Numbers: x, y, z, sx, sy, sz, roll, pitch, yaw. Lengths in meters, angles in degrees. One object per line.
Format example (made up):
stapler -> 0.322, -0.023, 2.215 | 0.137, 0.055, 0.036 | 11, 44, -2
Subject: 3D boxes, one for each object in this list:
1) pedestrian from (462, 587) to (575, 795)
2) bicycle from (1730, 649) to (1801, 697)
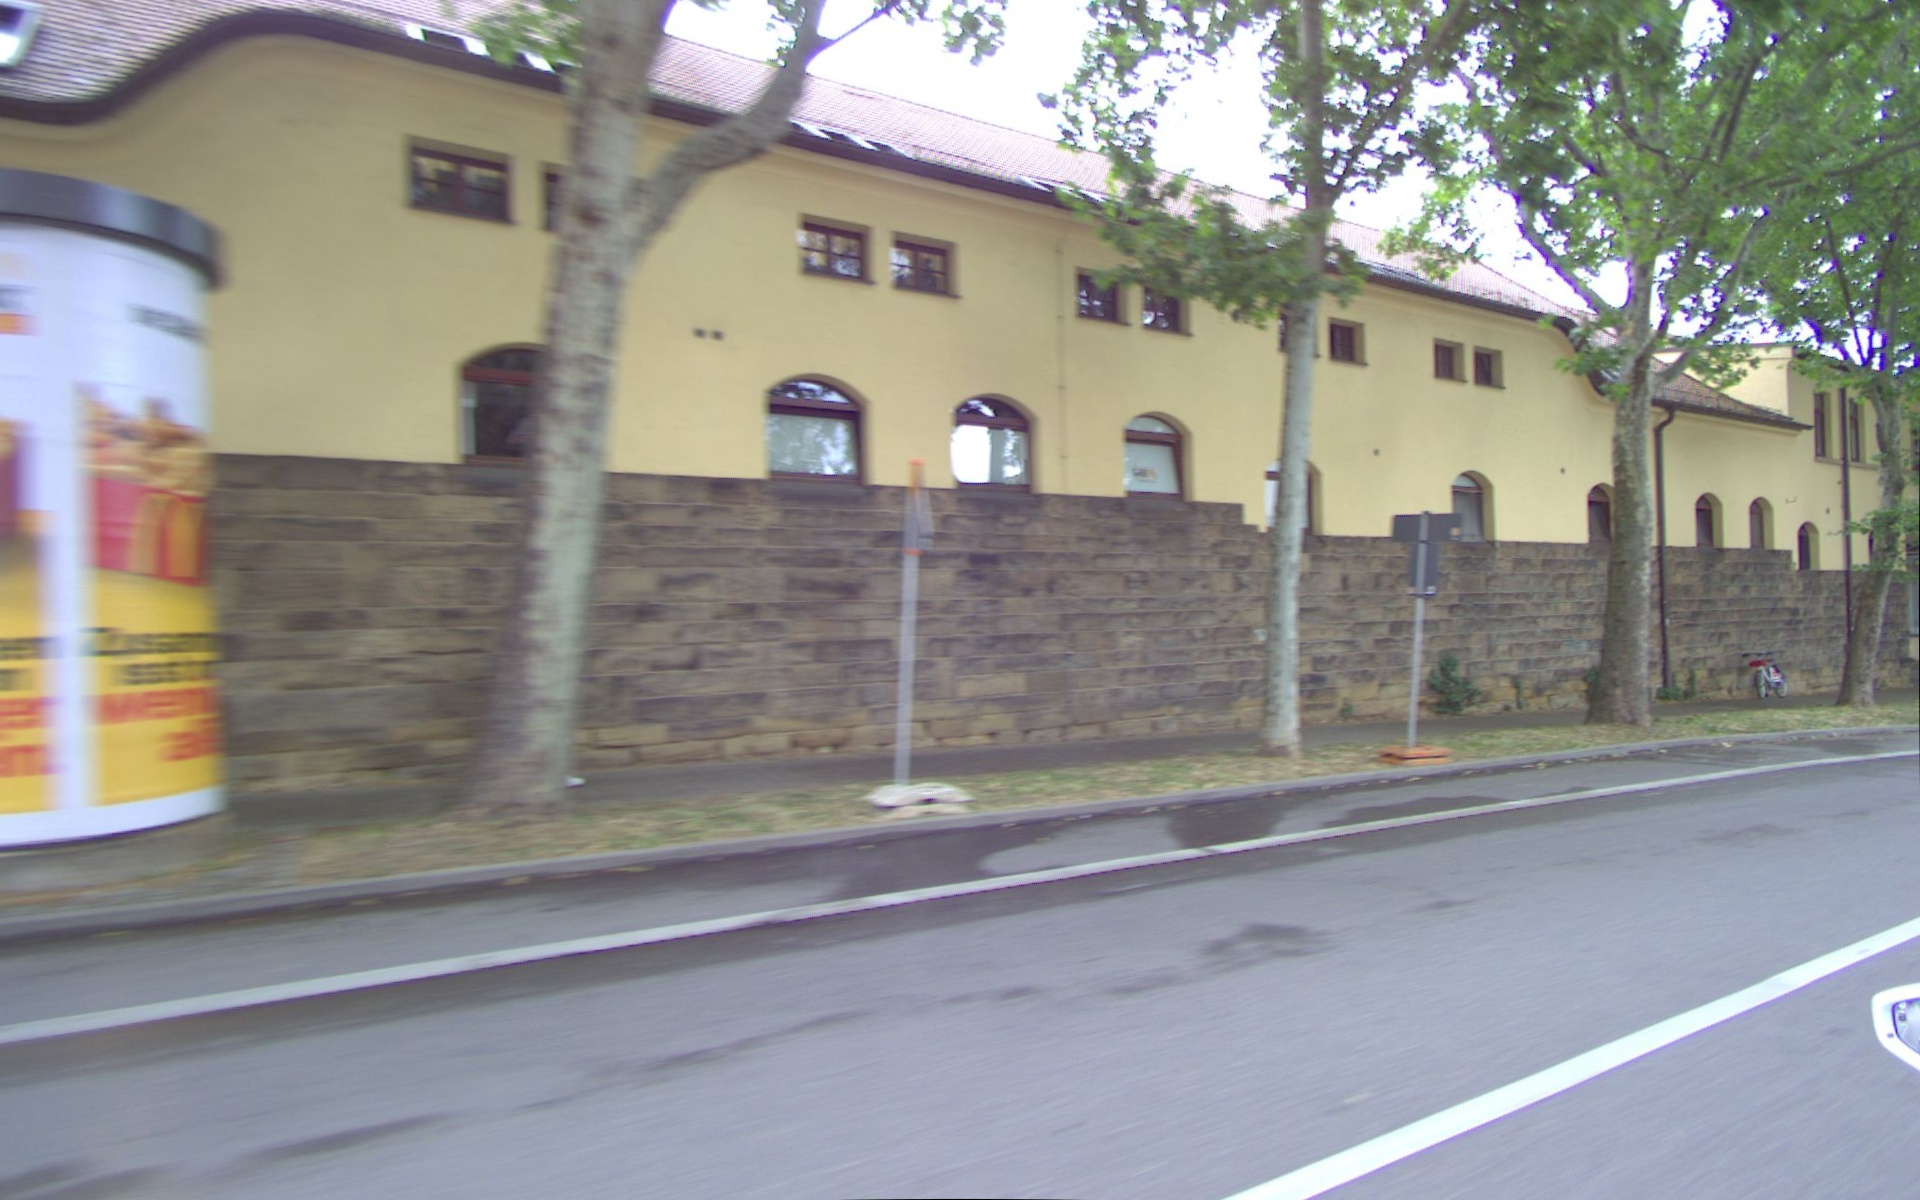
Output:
pedestrian -> -4.107, 0.809, 9.336 | 0.865, 1.818, 0.773 | 1, -2, -31
bicycle -> 19.791, 1.773, 24.670 | 2.168, 1.106, 0.593 | 1, 0, -29
